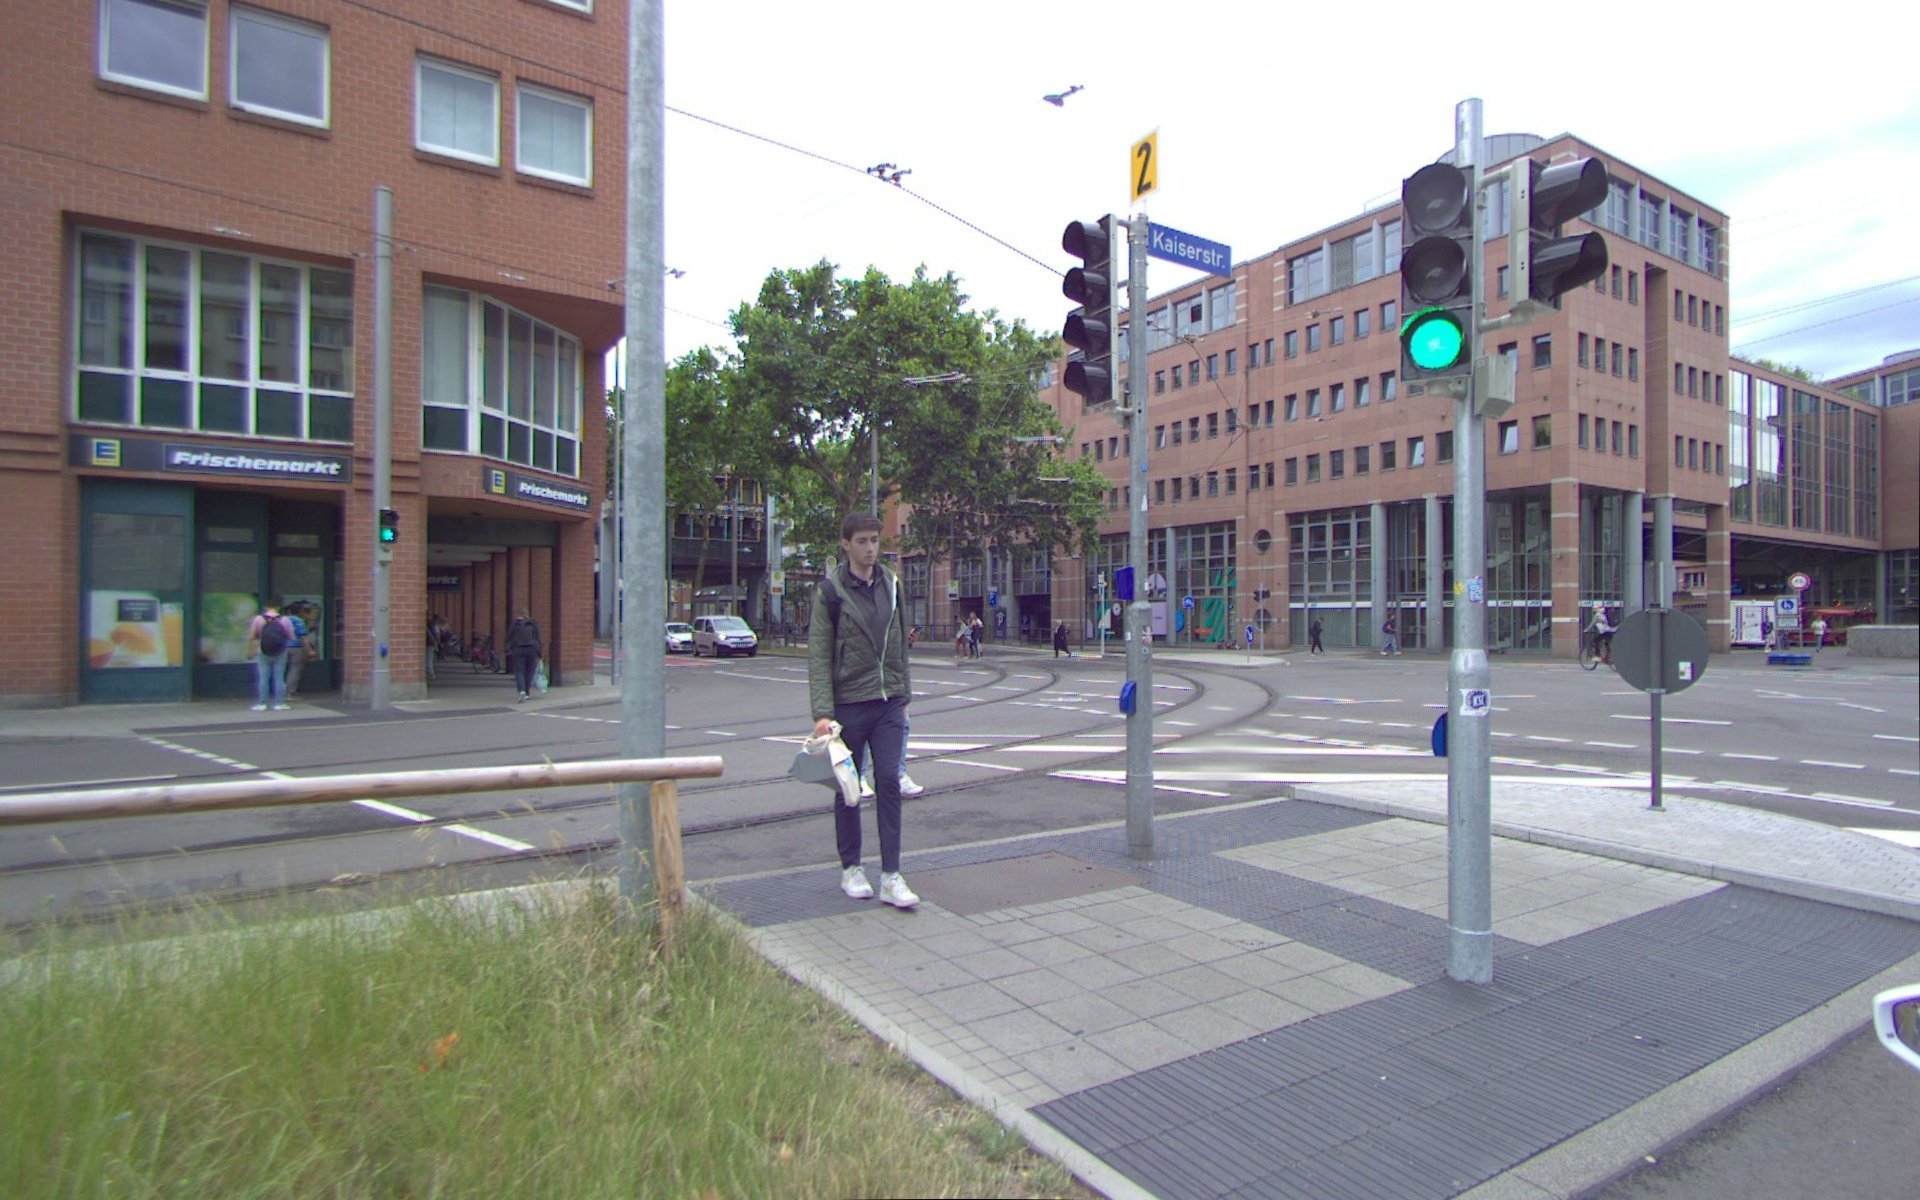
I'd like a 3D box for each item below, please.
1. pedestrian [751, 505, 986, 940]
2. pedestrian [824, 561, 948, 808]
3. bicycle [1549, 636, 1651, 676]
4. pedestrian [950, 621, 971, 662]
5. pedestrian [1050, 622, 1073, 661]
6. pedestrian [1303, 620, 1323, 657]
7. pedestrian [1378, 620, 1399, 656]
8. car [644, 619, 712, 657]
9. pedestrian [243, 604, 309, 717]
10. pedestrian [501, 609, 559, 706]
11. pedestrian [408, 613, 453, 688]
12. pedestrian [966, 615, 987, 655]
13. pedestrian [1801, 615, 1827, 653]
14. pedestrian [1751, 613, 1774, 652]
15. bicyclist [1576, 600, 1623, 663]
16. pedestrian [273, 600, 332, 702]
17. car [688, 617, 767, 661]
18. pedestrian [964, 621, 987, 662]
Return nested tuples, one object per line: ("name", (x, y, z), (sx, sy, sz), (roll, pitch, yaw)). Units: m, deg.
("pedestrian", (-0.472, 0.548, 5.016), (0.791, 1.915, 0.891), (2, 0, -34))
("pedestrian", (-0.612, 0.672, 8.283), (0.791, 1.914, 0.606), (2, -1, -35))
("bicycle", (19.159, 1.649, 30.211), (0.887, 1.058, 3.277), (1, -1, -2))
("pedestrian", (0.013, 1.688, 41.059), (0.625, 1.633, 0.568), (3, -1, -40))
("pedestrian", (4.200, 1.699, 41.458), (0.735, 1.581, 0.570), (2, -1, -27))
("pedestrian", (16.272, 1.772, 46.249), (0.731, 1.710, 0.573), (1, -1, 32))
("pedestrian", (19.105, 1.700, 44.763), (0.731, 1.581, 0.573), (1, -1, 32))
("car", (-13.824, 1.828, 49.135), (1.910, 1.817, 3.958), (1, -2, -37))
("pedestrian", (-10.652, 0.929, 15.635), (0.792, 1.706, 0.565), (2, 0, -37))
("pedestrian", (-7.839, 1.037, 18.313), (0.792, 1.706, 0.738), (2, 0, -37))
("pedestrian", (-12.447, 1.167, 23.592), (0.792, 1.706, 0.738), (2, 0, -37))
("pedestrian", (0.681, 1.470, 41.899), (0.625, 1.633, 0.568), (3, -1, -40))
("pedestrian", (43.219, 1.708, 50.855), (0.722, 1.866, 0.701), (1, 0, -13))
("pedestrian", (39.165, 1.596, 48.999), (0.727, 1.866, 0.695), (1, 0, -35))
("bicyclist", (19.066, 0.931, 29.962), (0.820, 1.836, 0.877), (1, 0, -2))
("pedestrian", (-11.331, 0.877, 17.306), (0.717, 1.709, 0.654), (3, -3, -41))
("car", (-10.164, 1.661, 43.737), (1.910, 1.817, 3.958), (1, -2, -37))
("pedestrian", (0.615, 1.632, 39.853), (0.625, 1.595, 0.568), (3, -1, -40))
